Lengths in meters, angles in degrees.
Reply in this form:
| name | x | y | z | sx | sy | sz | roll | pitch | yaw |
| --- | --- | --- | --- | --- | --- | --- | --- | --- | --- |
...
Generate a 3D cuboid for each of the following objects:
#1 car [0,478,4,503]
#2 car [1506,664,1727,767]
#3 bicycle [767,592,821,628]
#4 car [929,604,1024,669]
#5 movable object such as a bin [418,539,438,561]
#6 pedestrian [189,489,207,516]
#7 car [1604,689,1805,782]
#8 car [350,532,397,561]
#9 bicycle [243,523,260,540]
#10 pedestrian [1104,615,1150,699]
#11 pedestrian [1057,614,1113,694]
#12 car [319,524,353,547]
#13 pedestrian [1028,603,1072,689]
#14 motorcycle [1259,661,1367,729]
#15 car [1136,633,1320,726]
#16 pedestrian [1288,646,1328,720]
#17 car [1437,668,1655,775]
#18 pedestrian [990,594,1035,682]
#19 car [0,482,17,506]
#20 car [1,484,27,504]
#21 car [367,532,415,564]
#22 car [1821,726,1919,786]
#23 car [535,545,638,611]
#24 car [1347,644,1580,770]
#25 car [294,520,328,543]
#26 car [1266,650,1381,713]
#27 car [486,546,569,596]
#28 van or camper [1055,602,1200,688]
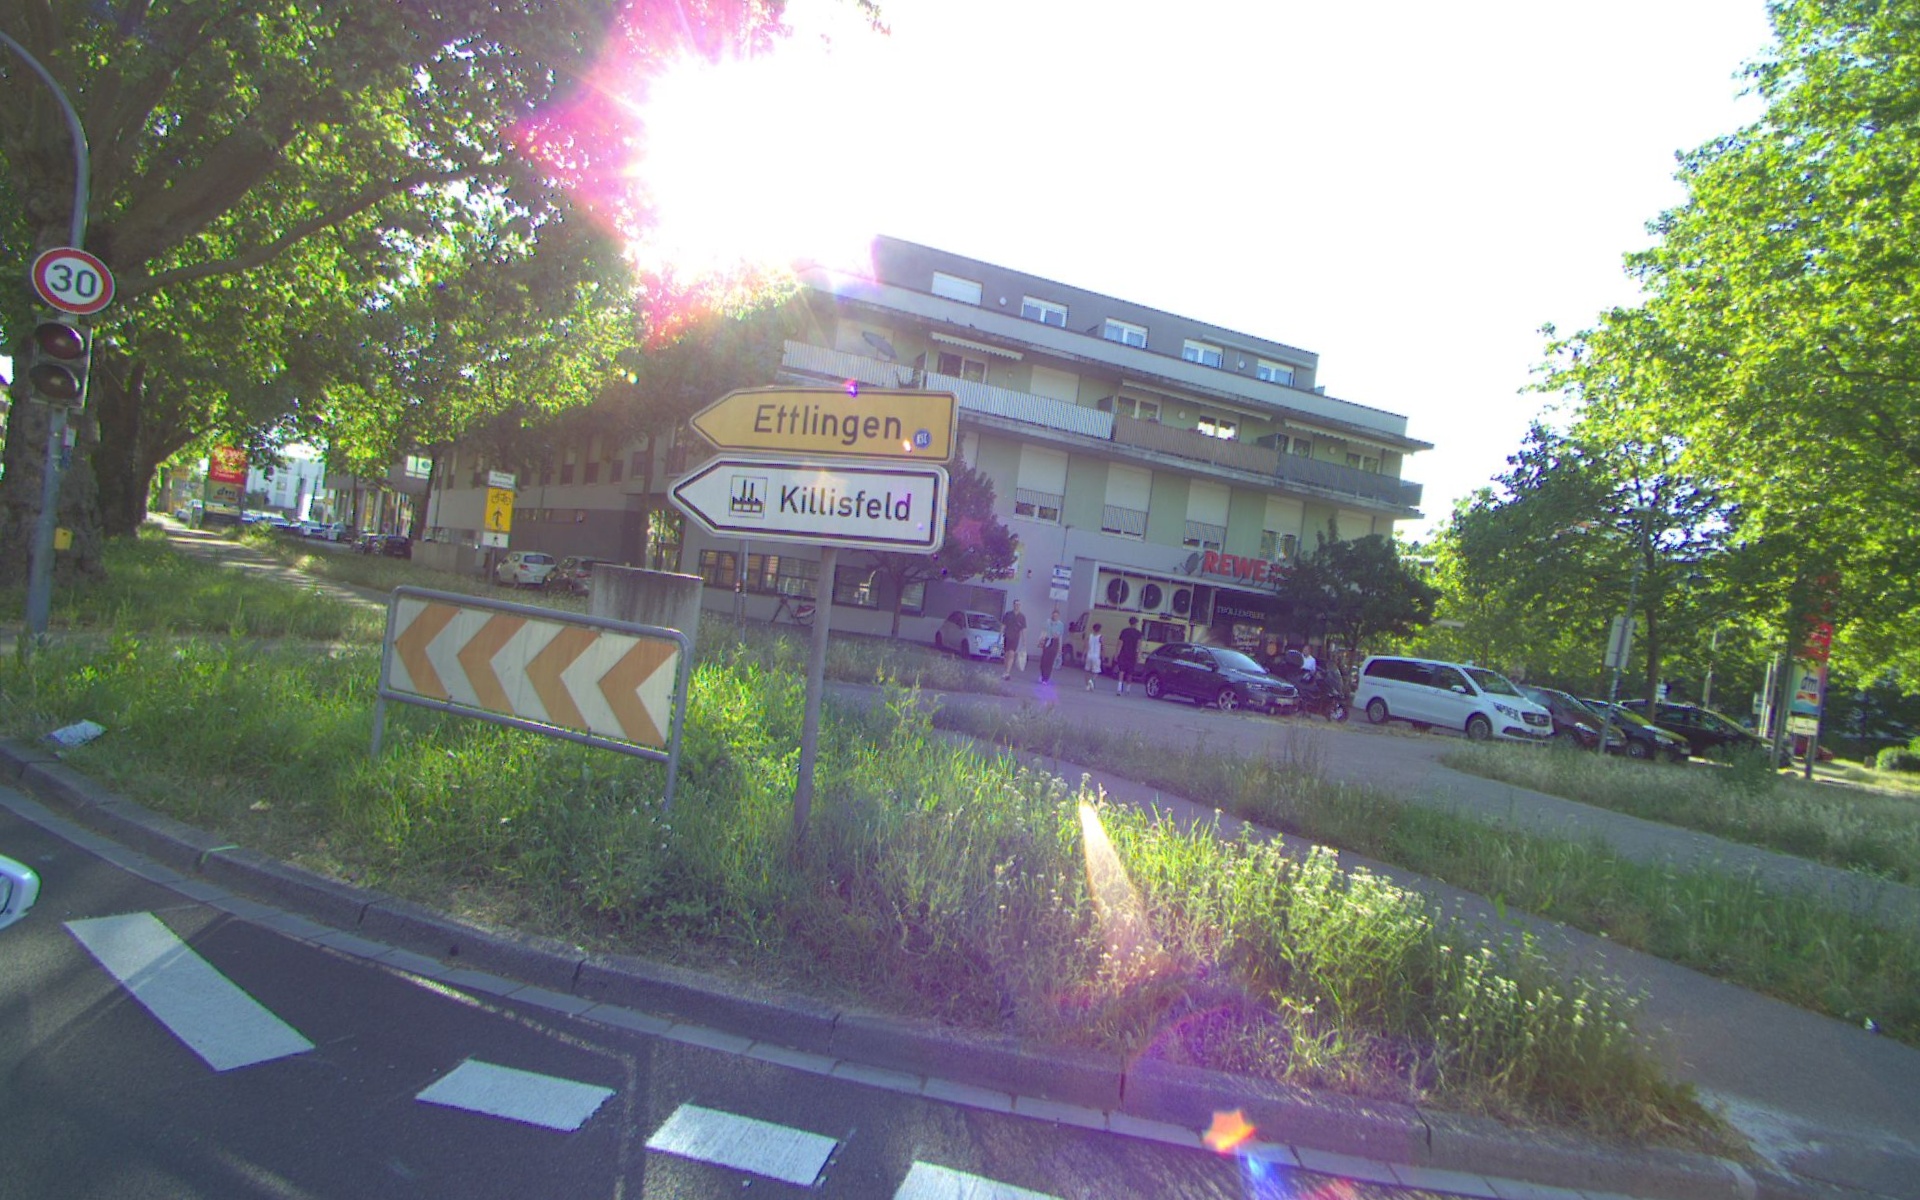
| name | x | y | z | sx | sy | sz | roll | pitch | yaw |
| --- | --- | --- | --- | --- | --- | --- | --- | --- | --- |
| car | -72.321 | -8.270 | 74.327 | 1.727 | 1.929 | 5.153 | 9 | -1 | -38 |
| car | 17.981 | 3.121 | 27.861 | 1.975 | 1.798 | 4.603 | 8 | 3 | -23 |
| bicycle | -5.733 | 0.355 | 34.655 | 1.657 | 1.030 | 0.585 | 7 | 1 | -21 |
| car | 0.474 | 1.151 | 32.925 | 1.654 | 1.474 | 3.535 | 8 | 3 | -23 |
| movable object such as a bin | -39.301 | -3.703 | 74.339 | 1.183 | 1.481 | 1.397 | 7 | 0 | -28 |
| pedestrian | -53.498 | -6.851 | 70.619 | 0.654 | 1.784 | 0.766 | 7 | 2 | 40 |
| car | 23.150 | 4.154 | 31.437 | 1.988 | 1.798 | 4.574 | 6 | 4 | -43 |
| car | -39.199 | -3.601 | 67.229 | 1.853 | 1.486 | 4.075 | 8 | -1 | -41 |
| bicycle | -49.930 | -4.821 | 70.863 | 1.462 | 1.016 | 0.383 | 7 | 1 | 34 |
| pedestrian | 3.891 | 1.310 | 23.483 | 0.674 | 1.832 | 0.964 | 7 | 0 | -1 |
| pedestrian | 2.905 | 1.246 | 23.472 | 0.933 | 1.719 | 0.883 | 7 | 0 | -4 |
| car | -58.717 | -6.102 | 94.649 | 1.979 | 1.755 | 4.131 | 7 | 0 | -41 |
| pedestrian | 2.136 | 1.083 | 23.830 | 0.788 | 1.903 | 0.785 | 7 | 1 | 5 |
| motorcycle | 8.447 | 2.252 | 24.203 | 0.941 | 1.263 | 2.301 | 7 | 0 | -27 |
| car | 5.953 | 1.750 | 22.829 | 1.657 | 1.541 | 3.959 | 7 | -1 | -28 |
| pedestrian | 8.791 | 2.089 | 25.416 | 0.554 | 1.772 | 0.528 | 7 | -1 | -28 |
| car | 15.523 | 3.177 | 26.986 | 1.975 | 1.798 | 4.603 | 8 | 3 | -23 |
| pedestrian | 1.245 | 0.897 | 23.725 | 0.767 | 1.956 | 0.839 | 7 | 1 | 7 |
| car | -80.568 | -9.019 | 84.375 | 1.740 | 1.808 | 4.495 | 10 | -2 | -41 |
| car | -89.716 | -10.057 | 95.436 | 1.543 | 1.541 | 3.958 | 10 | -2 | -41 |
| car | -35.008 | -3.221 | 61.886 | 1.851 | 1.571 | 3.718 | 8 | 0 | -39 |
| car | 35.724 | 6.024 | 38.312 | 4.043 | 1.819 | 1.997 | 6 | -2 | 32 |
| car | -12.868 | -0.804 | 34.512 | 1.897 | 1.792 | 4.272 | 7 | 0 | -39 |
| car | 12.694 | 2.618 | 25.813 | 1.975 | 2.124 | 5.019 | 8 | 3 | -23 |
| car | -60.358 | -6.377 | 93.530 | 1.869 | 1.755 | 4.130 | 7 | 0 | -42 |
| car | 12.607 | 2.797 | 35.102 | 1.558 | 1.653 | 3.657 | 8 | 0 | -23 |
| car | -17.404 | -1.184 | 40.391 | 1.851 | 1.561 | 4.272 | 8 | 0 | -39 |
| van or camper | 5.528 | 1.450 | 34.188 | 2.234 | 2.274 | 5.343 | 7 | 0 | -21 |
